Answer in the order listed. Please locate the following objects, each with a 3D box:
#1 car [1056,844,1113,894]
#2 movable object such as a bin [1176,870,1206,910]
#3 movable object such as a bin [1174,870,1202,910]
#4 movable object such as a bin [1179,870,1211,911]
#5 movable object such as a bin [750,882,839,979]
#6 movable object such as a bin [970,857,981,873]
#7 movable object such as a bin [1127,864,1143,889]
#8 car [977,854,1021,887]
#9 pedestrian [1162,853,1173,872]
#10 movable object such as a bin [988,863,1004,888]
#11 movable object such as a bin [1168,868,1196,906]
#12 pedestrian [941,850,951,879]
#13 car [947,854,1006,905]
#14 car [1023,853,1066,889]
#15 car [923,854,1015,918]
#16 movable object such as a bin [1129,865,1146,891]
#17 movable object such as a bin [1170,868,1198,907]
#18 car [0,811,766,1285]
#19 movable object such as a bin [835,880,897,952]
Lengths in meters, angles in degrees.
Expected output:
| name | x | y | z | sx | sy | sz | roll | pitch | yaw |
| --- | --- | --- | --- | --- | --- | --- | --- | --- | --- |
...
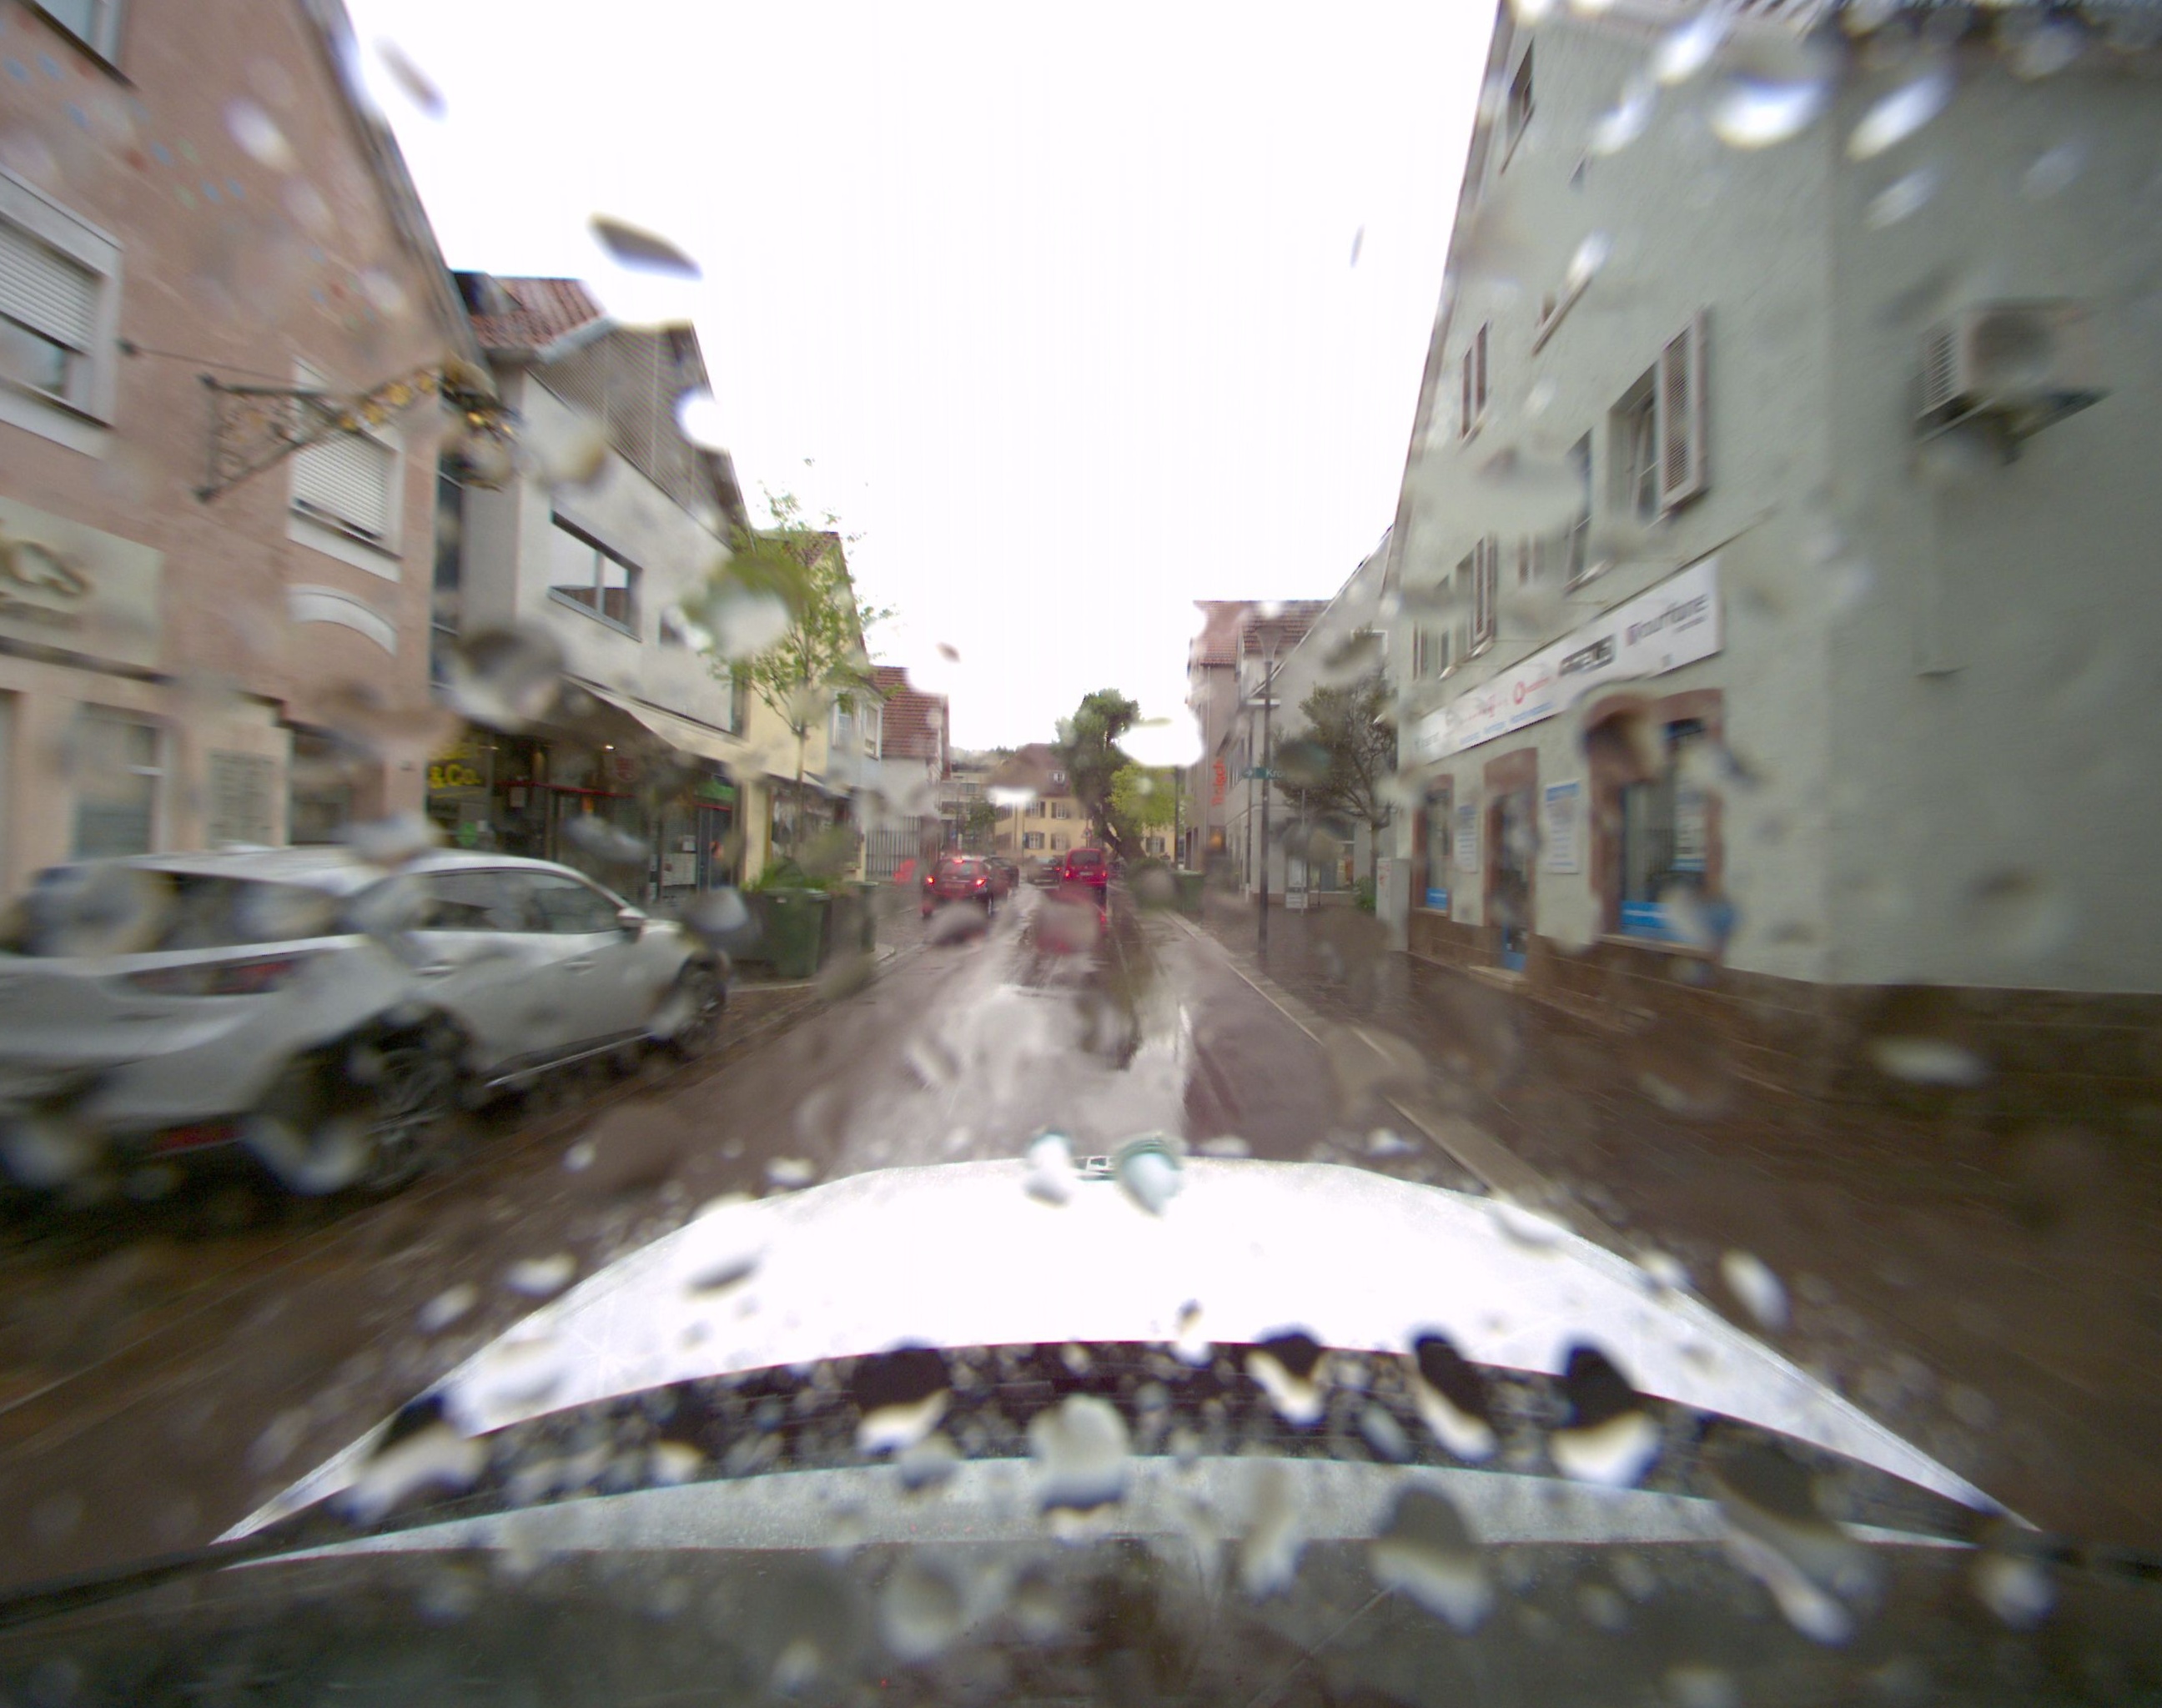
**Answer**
| name | x | y | z | sx | sy | sz | roll | pitch | yaw |
| --- | --- | --- | --- | --- | --- | --- | --- | --- | --- |
| car | 0.068 | 0.555 | 33.474 | 1.891 | 1.811 | 3.993 | 3 | 1 | -6 |
| movable object such as a bin | 3.031 | 0.992 | 22.478 | 0.751 | 1.064 | 0.600 | 2 | -2 | 2 |
| movable object such as a bin | 3.030 | 1.003 | 23.048 | 0.726 | 1.091 | 0.521 | 2 | -2 | 2 |
| movable object such as a bin | 3.044 | 0.975 | 21.842 | 0.765 | 1.080 | 0.599 | 2 | -2 | 2 |
| movable object such as a bin | -3.509 | 0.918 | 10.029 | 0.783 | 1.084 | 0.694 | 2 | 0 | 4 |
| movable object such as a bin | -7.397 | 0.755 | 57.007 | 0.714 | 1.106 | 0.598 | 2 | -2 | -9 |
| movable object such as a bin | 2.434 | 1.031 | 36.763 | 0.631 | 1.104 | 0.578 | 2 | -2 | -6 |
| car | -4.222 | 0.806 | 41.610 | 1.789 | 1.495 | 3.984 | 2 | 0 | -12 |
| pedestrian | 8.547 | 0.865 | 80.392 | 0.896 | 1.842 | 0.766 | 2 | -2 | 0 |
| movable object such as a bin | -3.924 | 1.010 | 37.622 | 0.725 | 1.110 | 0.595 | 2 | -2 | -6 |
| movable object such as a bin | 3.006 | 0.982 | 24.270 | 0.733 | 1.098 | 0.611 | 1 | -2 | 1 |
| pedestrian | -8.259 | 0.644 | 49.913 | 0.517 | 1.711 | 0.577 | 2 | -2 | -6 |
| car | -3.441 | 0.805 | 27.315 | 1.754 | 1.474 | 3.936 | 2 | 0 | -5 |
| car | -2.056 | 0.951 | 44.633 | 1.991 | 1.799 | 3.990 | 2 | -2 | -7 |
| car | -2.842 | 0.777 | 21.472 | 1.685 | 1.443 | 3.887 | 2 | 1 | 2 |
| movable object such as a bin | 2.502 | 1.062 | 36.154 | 0.631 | 1.150 | 0.578 | 2 | -2 | -6 |
| movable object such as a bin | 2.982 | 0.968 | 23.666 | 0.733 | 1.098 | 0.611 | 1 | -1 | 1 |
| car | -3.704 | 0.641 | 4.911 | 1.685 | 1.538 | 4.125 | 5 | 1 | 3 |
| movable object such as a bin | -3.321 | 0.944 | 12.612 | 0.706 | 1.052 | 0.704 | 2 | -2 | 2 |
